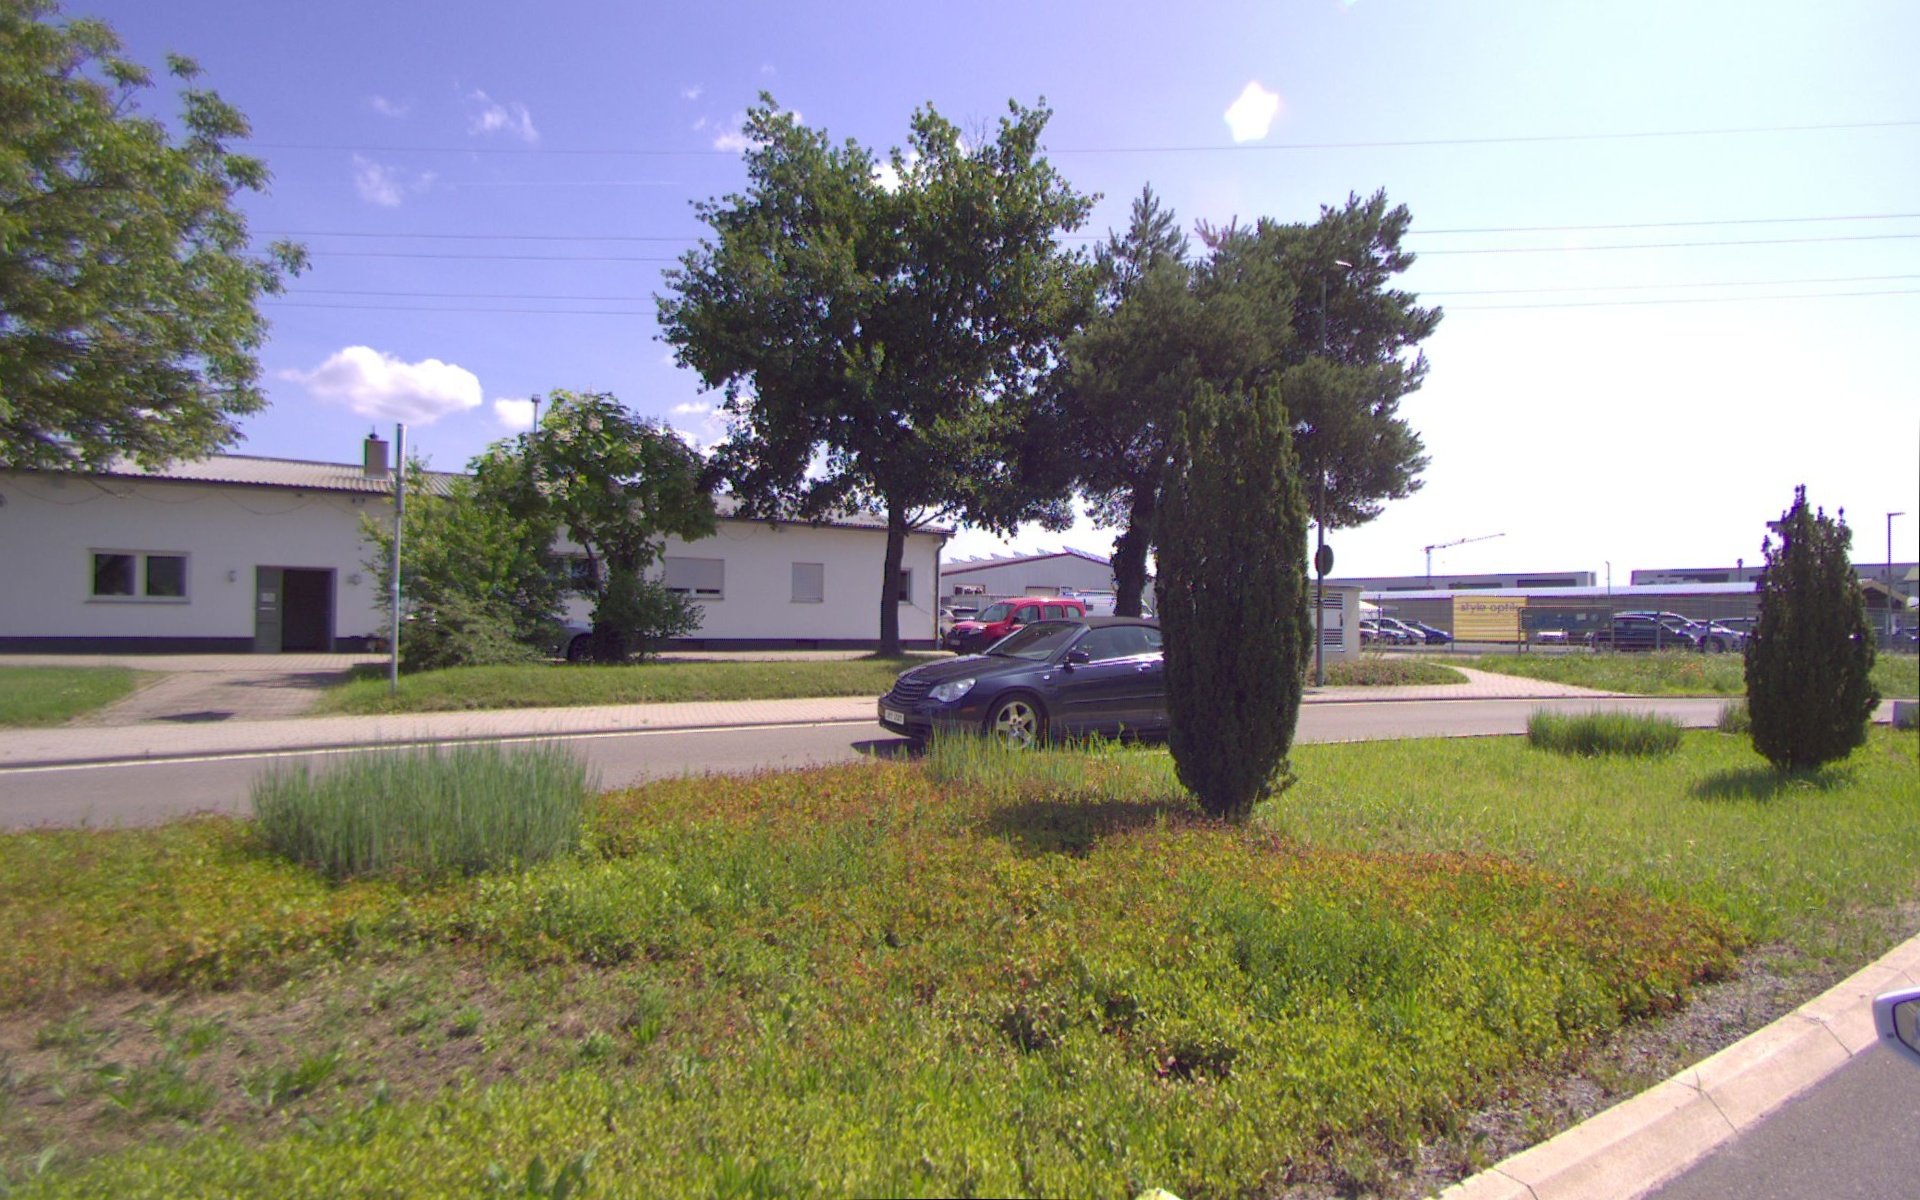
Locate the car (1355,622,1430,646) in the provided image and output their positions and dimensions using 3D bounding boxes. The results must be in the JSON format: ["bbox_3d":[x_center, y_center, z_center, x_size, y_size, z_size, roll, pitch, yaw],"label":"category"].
[{"bbox_3d":[26.287,2.029,61.049,3.930,1.327,1.938,0,-1,32],"label":"car"}]

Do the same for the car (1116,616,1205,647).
[{"bbox_3d":[9.734,1.532,48.698,3.952,1.452,1.911,1,-1,-30],"label":"car"}]

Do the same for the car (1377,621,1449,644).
[{"bbox_3d":[28.502,2.035,63.233,3.930,1.327,1.938,0,-1,32],"label":"car"}]

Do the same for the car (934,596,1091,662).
[{"bbox_3d":[1.537,0.839,28.997,4.182,1.767,1.983,2,-2,-32],"label":"car"}]

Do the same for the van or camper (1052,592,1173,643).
[{"bbox_3d":[8.313,0.991,54.303,6.689,2.634,1.984,1,-1,-30],"label":"van or camper"}]

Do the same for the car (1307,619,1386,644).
[{"bbox_3d":[22.042,1.765,57.261,3.930,1.327,1.938,0,-1,32],"label":"car"}]

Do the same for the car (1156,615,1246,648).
[{"bbox_3d":[11.060,1.422,46.113,3.960,1.452,1.907,1,-1,-35],"label":"car"}]

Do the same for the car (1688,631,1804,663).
[{"bbox_3d":[35.646,2.098,45.677,3.930,1.327,1.938,0,-1,32],"label":"car"}]

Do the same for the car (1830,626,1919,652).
[{"bbox_3d":[49.981,2.086,54.472,3.930,1.327,1.938,0,-1,32],"label":"car"}]

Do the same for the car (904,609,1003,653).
[{"bbox_3d":[-0.296,1.146,38.273,1.917,1.545,3.962,1,-1,-34],"label":"car"}]

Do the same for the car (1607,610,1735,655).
[{"bbox_3d":[28.091,1.265,39.861,4.037,1.727,1.719,0,-2,32],"label":"car"}]

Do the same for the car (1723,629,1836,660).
[{"bbox_3d":[38.565,2.067,47.376,3.932,1.327,1.937,0,-2,34],"label":"car"}]

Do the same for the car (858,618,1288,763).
[{"bbox_3d":[1.391,0.951,11.776,4.804,1.412,1.892,1,-1,-28],"label":"car"}]

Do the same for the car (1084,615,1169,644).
[{"bbox_3d":[8.442,1.494,50.876,3.952,1.452,1.911,1,-1,-30],"label":"car"}]

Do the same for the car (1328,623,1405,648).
[{"bbox_3d":[23.884,2.075,59.069,3.930,1.327,1.938,0,-1,32],"label":"car"}]

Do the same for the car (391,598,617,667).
[{"bbox_3d":[-10.293,0.743,22.738,4.464,1.427,1.984,2,-2,-31],"label":"car"}]

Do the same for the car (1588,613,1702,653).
[{"bbox_3d":[26.158,1.237,38.395,3.513,1.420,1.794,0,-1,37],"label":"car"}]

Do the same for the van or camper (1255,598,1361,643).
[{"bbox_3d":[19.264,1.102,55.645,5.248,2.407,1.890,0,-1,32],"label":"van or camper"}]

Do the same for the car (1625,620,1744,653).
[{"bbox_3d":[30.455,1.525,42.378,3.931,1.327,1.938,0,-2,32],"label":"car"}]

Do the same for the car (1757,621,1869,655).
[{"bbox_3d":[41.738,1.829,49.270,3.930,1.561,1.938,0,-1,32],"label":"car"}]
